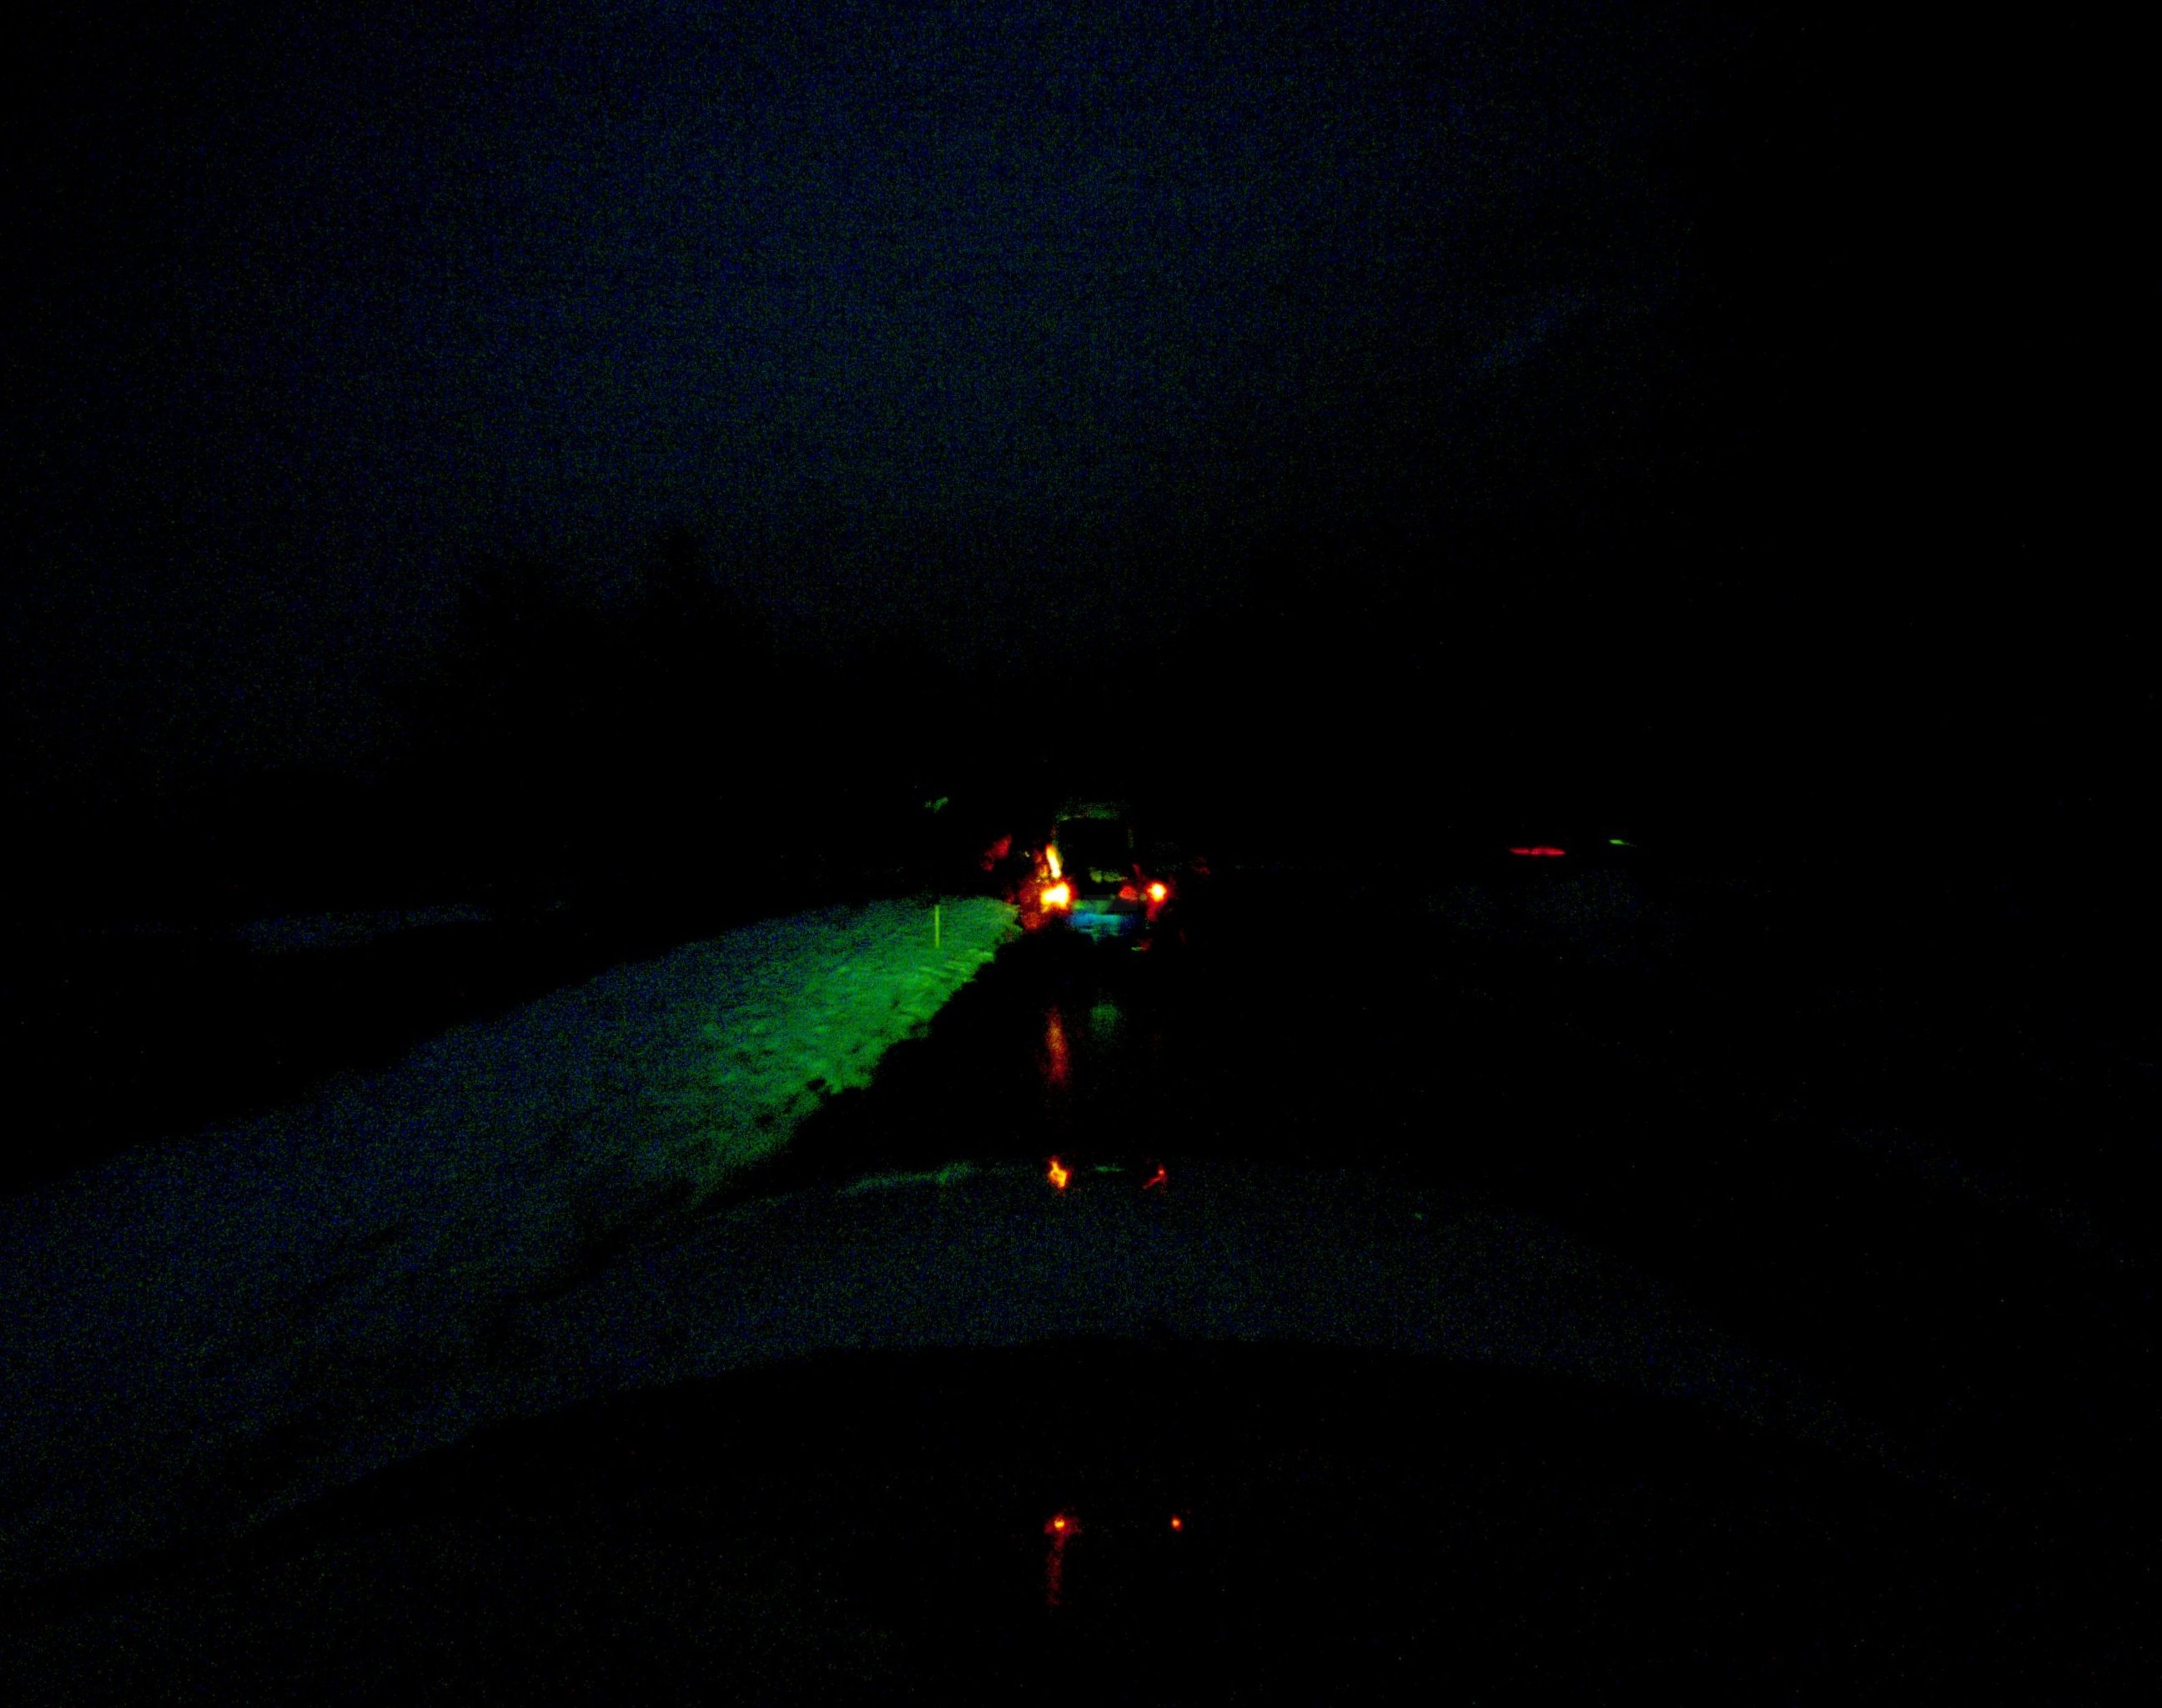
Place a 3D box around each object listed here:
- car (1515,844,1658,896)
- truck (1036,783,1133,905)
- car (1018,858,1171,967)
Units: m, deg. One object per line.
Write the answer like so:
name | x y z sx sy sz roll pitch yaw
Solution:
car | 19.921 0.629 32.148 5.004 1.945 1.679 0 -1 -11
truck | -0.054 -0.209 21.119 2.072 2.746 5.310 0 0 -5
car | 0.207 0.742 12.195 1.915 1.276 4.001 0 1 1
